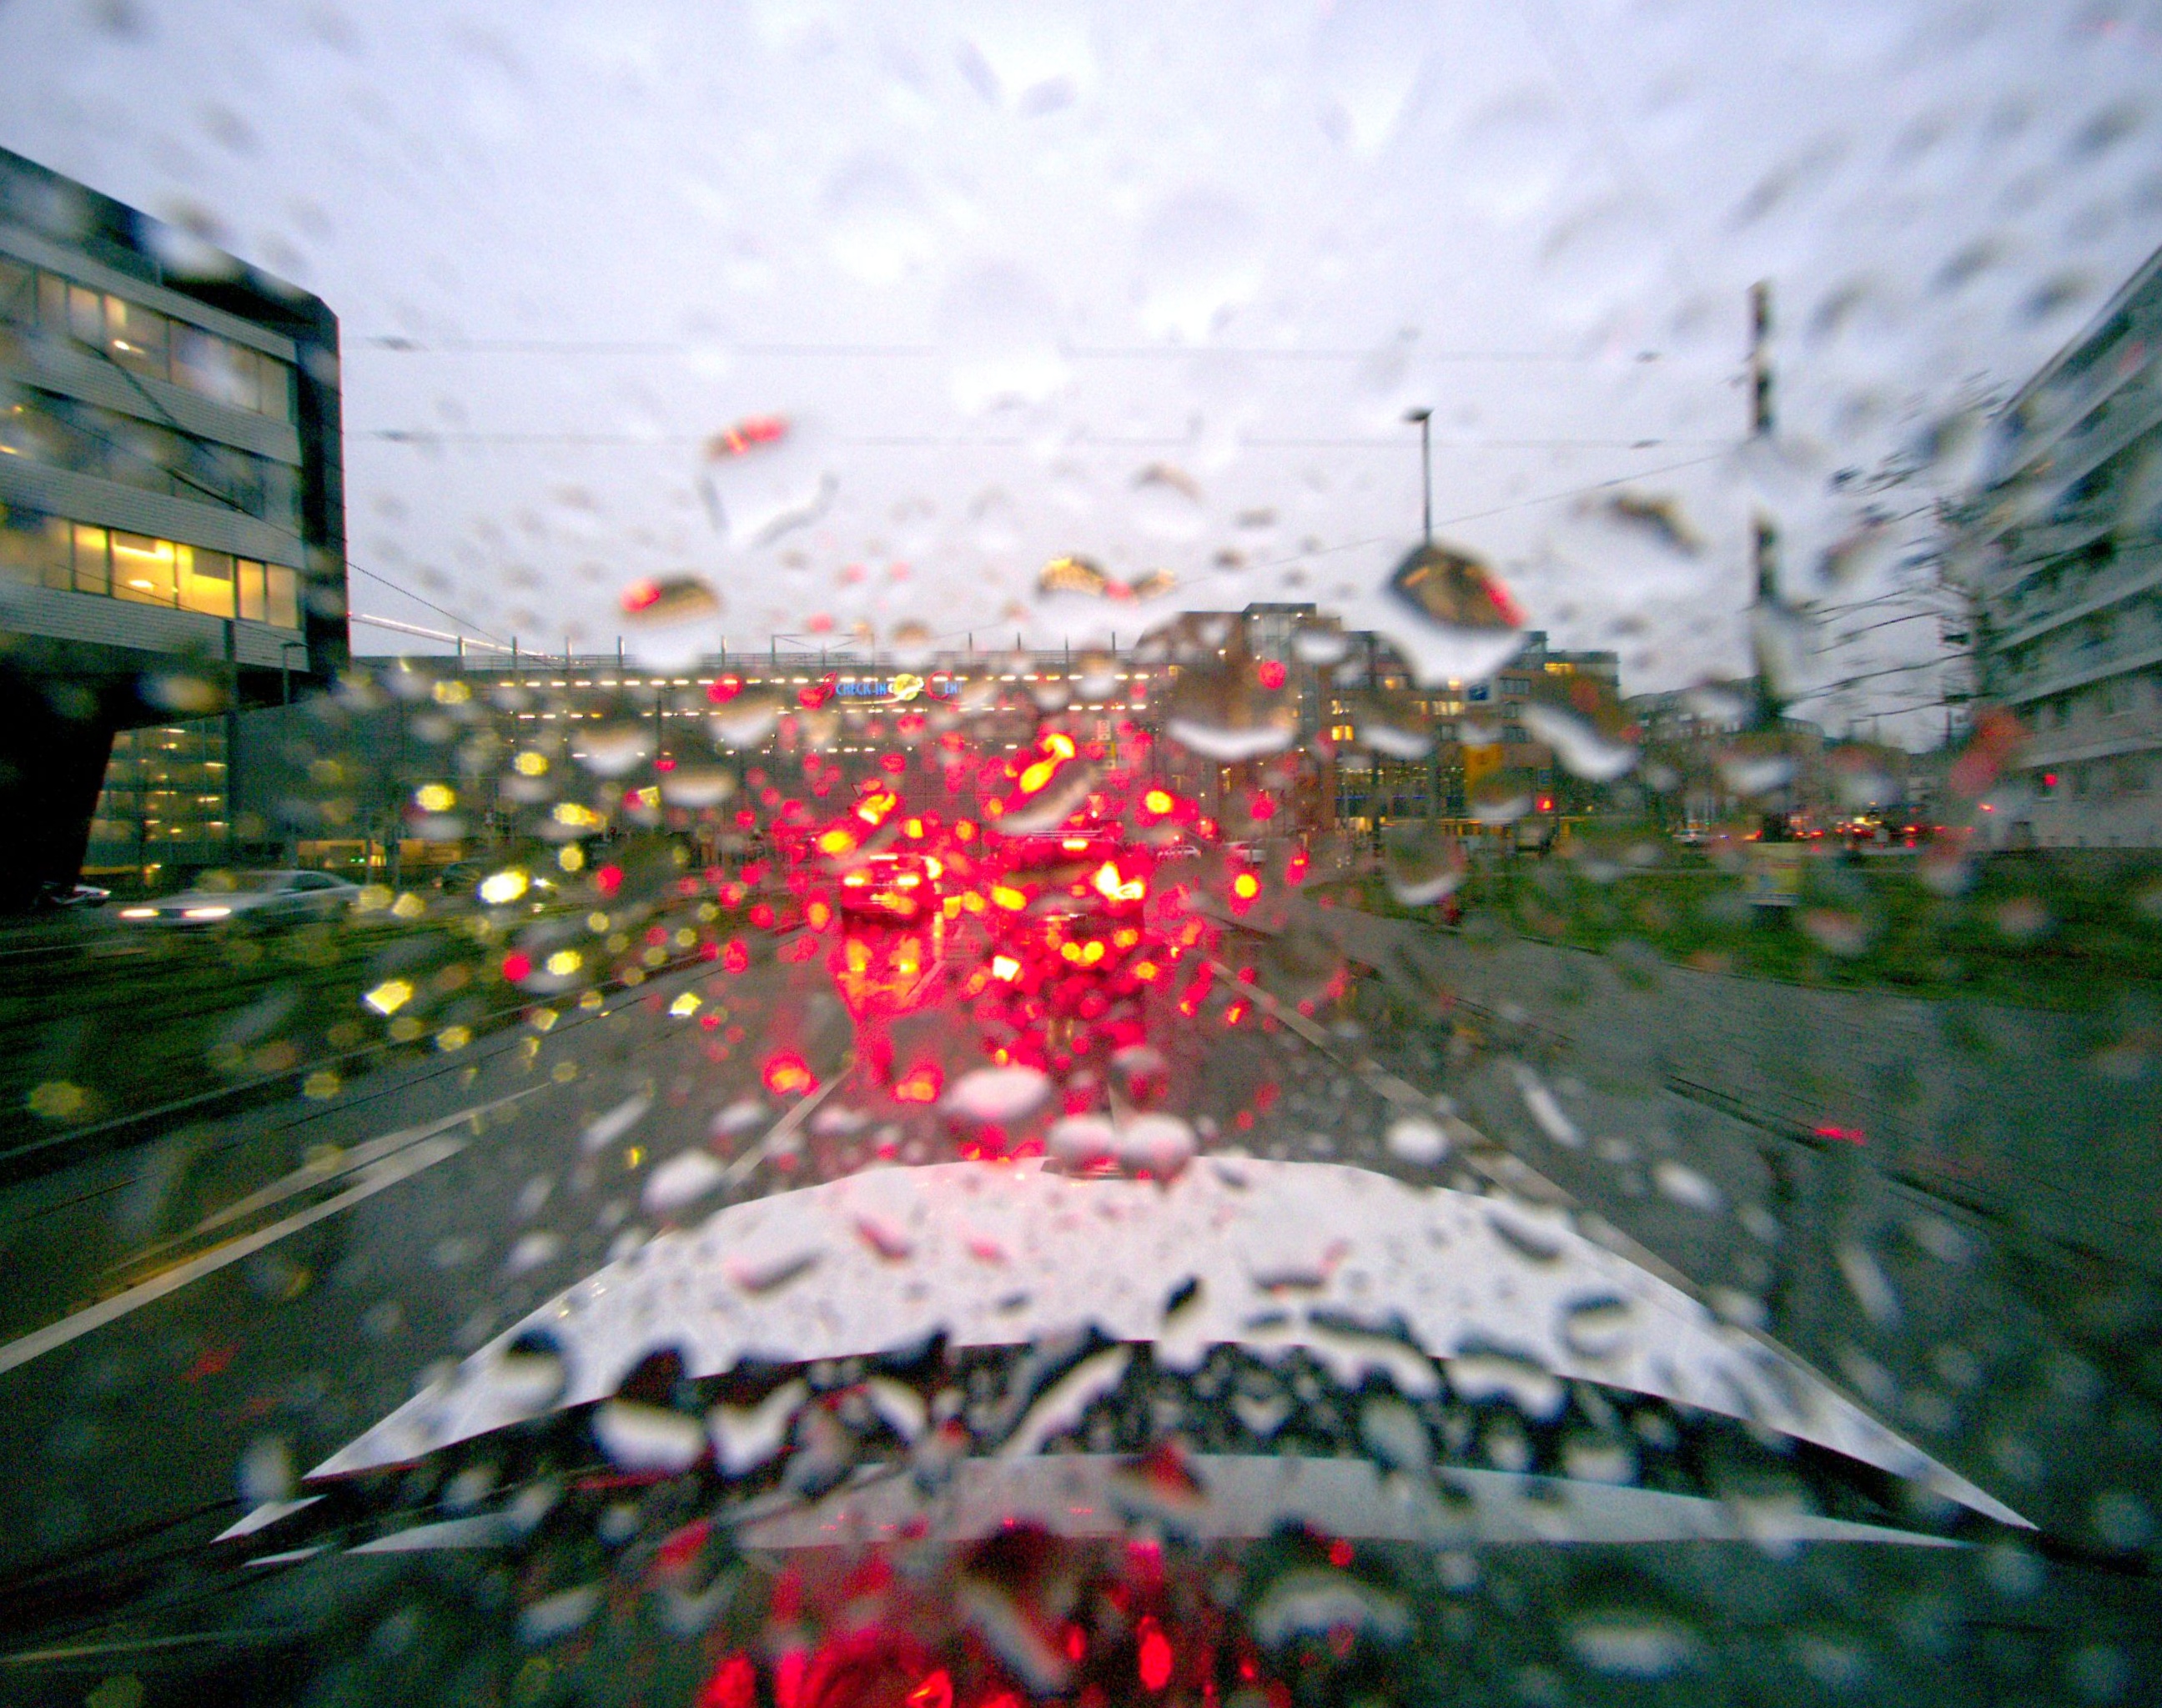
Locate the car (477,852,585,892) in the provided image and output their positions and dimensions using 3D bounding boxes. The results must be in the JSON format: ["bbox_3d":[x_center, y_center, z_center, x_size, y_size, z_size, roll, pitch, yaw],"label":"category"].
[{"bbox_3d":[-21.556,0.651,32.136,1.655,1.400,4.512,1,1,-7],"label":"car"}]

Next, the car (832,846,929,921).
[{"bbox_3d":[-4.700,0.628,19.604,1.751,1.574,3.991,-2,0,-7],"label":"car"}]

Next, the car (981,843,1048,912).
[{"bbox_3d":[-1.872,0.588,22.059,1.635,1.697,3.661,-1,0,-7],"label":"car"}]

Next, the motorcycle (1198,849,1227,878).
[{"bbox_3d":[4.719,0.325,29.374,0.849,0.971,1.583,-2,0,3],"label":"motorcycle"}]

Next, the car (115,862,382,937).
[{"bbox_3d":[-19.173,0.958,19.144,1.819,1.435,4.646,1,1,-6],"label":"car"}]

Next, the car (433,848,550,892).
[{"bbox_3d":[-28.379,0.737,39.349,3.993,1.874,1.991,-3,1,-14],"label":"car"}]

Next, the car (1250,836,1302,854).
[{"bbox_3d":[18.373,-0.845,76.699,4.425,1.595,1.791,-2,0,-14],"label":"car"}]

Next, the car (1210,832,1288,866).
[{"bbox_3d":[10.435,-0.299,50.555,4.369,2.013,1.987,0,1,-19],"label":"car"}]

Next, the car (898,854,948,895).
[{"bbox_3d":[-5.343,0.649,27.722,1.541,1.251,4.053,-1,0,-10],"label":"car"}]

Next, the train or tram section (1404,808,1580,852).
[{"bbox_3d":[35.291,-2.071,69.552,16.652,3.260,2.322,-2,0,-18],"label":"train or tram section"}]

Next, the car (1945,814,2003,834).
[{"bbox_3d":[77.925,-2.583,71.102,4.087,1.583,1.987,0,1,-19],"label":"car"}]

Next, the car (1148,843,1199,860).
[{"bbox_3d":[8.554,-0.209,75.356,4.420,1.390,1.794,-2,0,-10],"label":"car"}]

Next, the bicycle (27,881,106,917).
[{"bbox_3d":[-34.514,1.522,27.742,0.552,1.090,1.613,-2,0,5],"label":"bicycle"}]

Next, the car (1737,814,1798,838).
[{"bbox_3d":[59.505,-2.409,70.583,4.953,2.013,1.985,0,1,-23],"label":"car"}]

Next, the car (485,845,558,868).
[{"bbox_3d":[-50.283,0.203,73.292,5.076,1.962,1.885,1,0,-9],"label":"car"}]

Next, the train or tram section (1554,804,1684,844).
[{"bbox_3d":[49.020,-2.738,74.123,12.994,3.260,2.322,-2,0,-18],"label":"train or tram section"}]

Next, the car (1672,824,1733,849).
[{"bbox_3d":[51.886,-1.444,67.964,3.991,2.013,1.991,0,0,-13],"label":"car"}]

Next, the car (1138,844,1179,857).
[{"bbox_3d":[7.618,-0.345,80.196,3.757,1.165,1.676,-2,0,-9],"label":"car"}]

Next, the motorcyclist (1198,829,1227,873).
[{"bbox_3d":[4.726,-0.104,29.316,0.865,1.534,1.109,-2,0,3],"label":"motorcyclist"}]

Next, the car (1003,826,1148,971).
[{"bbox_3d":[-0.238,0.523,11.904,1.732,1.738,4.239,1,0,-5],"label":"car"}]

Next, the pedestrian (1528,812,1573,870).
[{"bbox_3d":[15.911,-0.439,27.627,1.160,1.924,0.903,1,0,20],"label":"pedestrian"}]

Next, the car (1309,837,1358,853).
[{"bbox_3d":[24.258,-0.885,78.264,4.216,1.390,1.794,-2,0,-10],"label":"car"}]
